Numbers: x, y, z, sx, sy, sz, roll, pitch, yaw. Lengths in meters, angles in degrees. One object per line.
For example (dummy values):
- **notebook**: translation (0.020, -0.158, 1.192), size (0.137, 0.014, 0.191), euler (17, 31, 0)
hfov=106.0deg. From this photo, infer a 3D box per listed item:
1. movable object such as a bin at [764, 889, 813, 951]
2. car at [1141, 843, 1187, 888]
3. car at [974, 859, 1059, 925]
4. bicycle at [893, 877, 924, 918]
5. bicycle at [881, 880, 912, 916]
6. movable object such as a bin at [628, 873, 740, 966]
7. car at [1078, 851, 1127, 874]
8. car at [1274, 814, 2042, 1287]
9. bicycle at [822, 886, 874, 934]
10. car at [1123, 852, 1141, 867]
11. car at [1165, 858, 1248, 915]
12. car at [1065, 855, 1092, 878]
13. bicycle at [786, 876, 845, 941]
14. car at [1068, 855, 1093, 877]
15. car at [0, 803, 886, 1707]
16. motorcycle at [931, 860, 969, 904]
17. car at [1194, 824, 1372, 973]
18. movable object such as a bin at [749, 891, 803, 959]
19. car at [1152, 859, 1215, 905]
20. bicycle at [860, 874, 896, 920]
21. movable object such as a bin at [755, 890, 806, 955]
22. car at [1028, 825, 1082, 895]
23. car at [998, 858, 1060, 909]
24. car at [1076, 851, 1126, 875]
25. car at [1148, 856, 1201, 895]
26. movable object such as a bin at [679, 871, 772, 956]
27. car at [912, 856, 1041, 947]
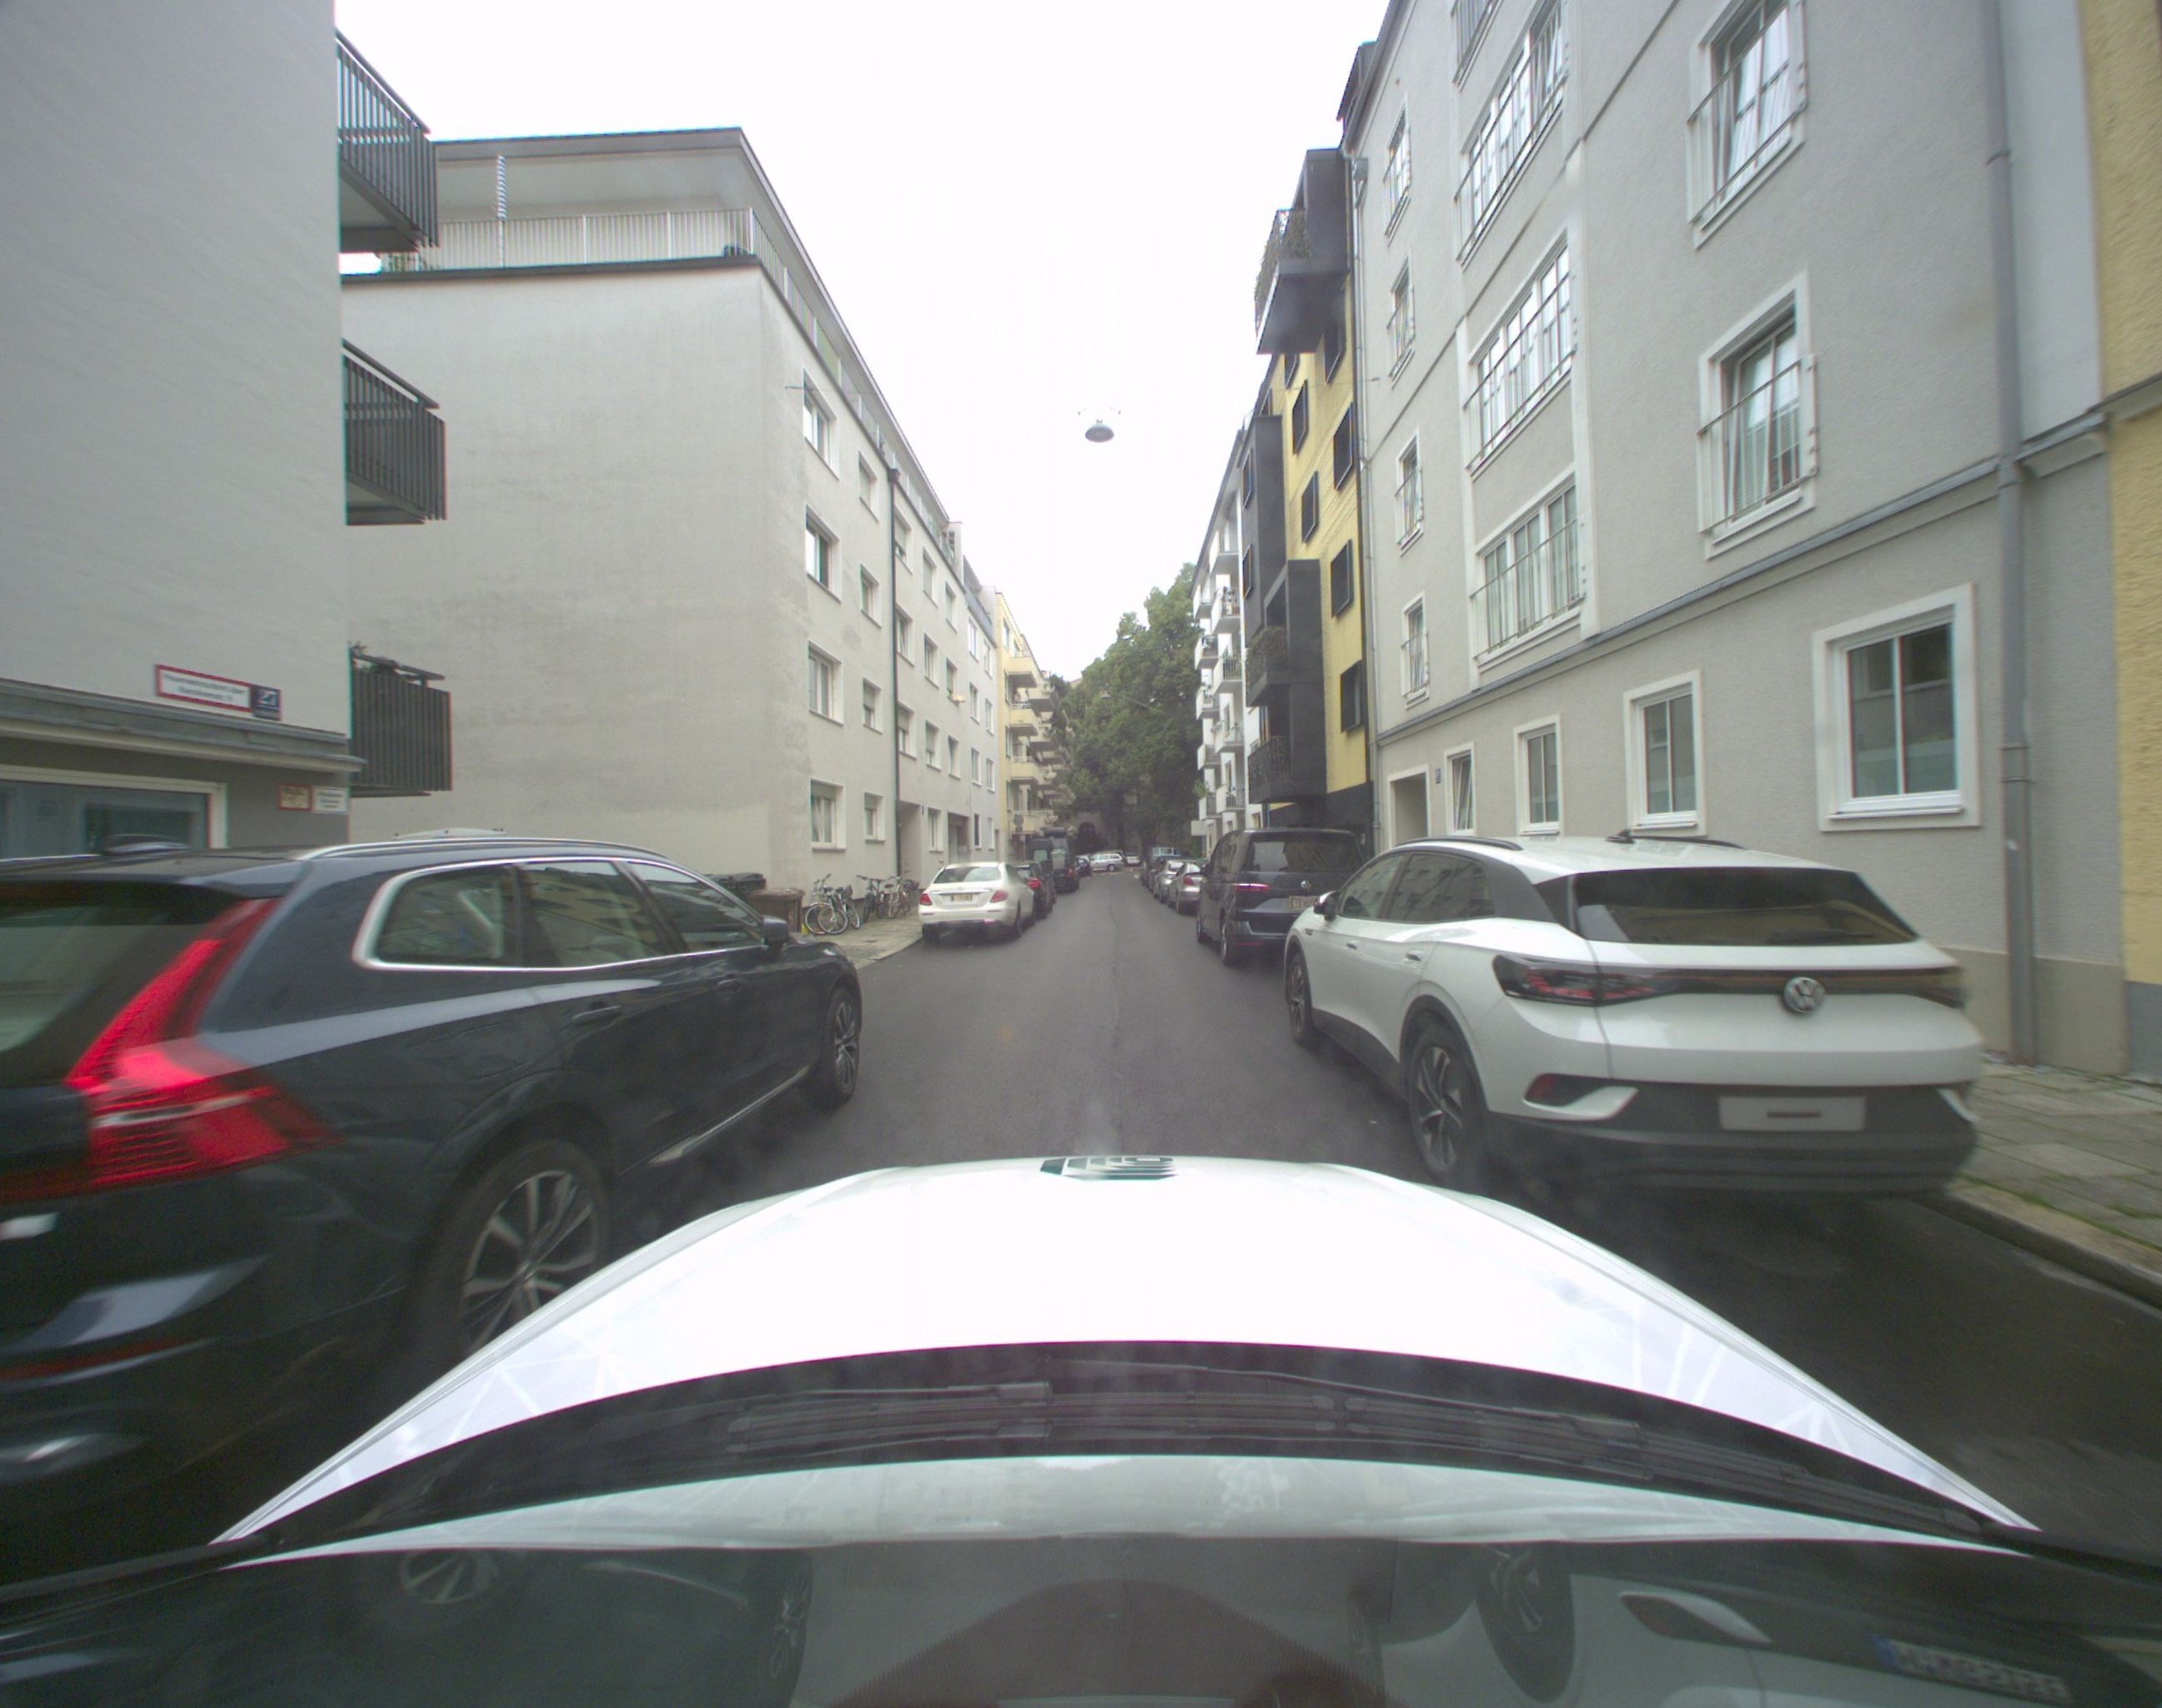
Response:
- **movable object such as a bin**: translation (-5.059, 1.135, 14.104), size (0.649, 1.020, 0.584), euler (0, 0, -4)
- **car**: translation (3.937, 0.514, 39.174), size (1.822, 1.999, 4.417), euler (2, 0, 2)
- **car**: translation (-1.626, 0.945, 21.884), size (1.770, 1.453, 4.047), euler (-4, 0, 2)
- **bicycle**: translation (-4.423, 1.096, 20.927), size (0.394, 0.982, 1.656), euler (0, 0, 2)
- **bicycle**: translation (-4.886, 1.146, 21.618), size (0.394, 0.869, 1.614), euler (0, 0, 2)
- **movable object such as a bin**: translation (-6.316, 1.021, 13.015), size (1.161, 1.337, 1.026), euler (-4, -1, 4)
- **car**: translation (1.790, 0.662, 66.973), size (3.873, 1.584, 1.648), euler (-4, 0, 0)
- **car**: translation (2.481, 0.661, 4.976), size (1.675, 1.567, 4.417), euler (1, 0, 2)
- **bicycle**: translation (-4.825, 1.134, 16.994), size (0.394, 0.869, 2.133), euler (0, 0, 2)
- **car**: translation (5.102, 0.507, 81.983), size (1.636, 1.383, 3.747), euler (-4, 0, 2)
- **car**: translation (3.515, 0.860, 23.591), size (1.822, 1.454, 4.417), euler (2, 0, 2)
- **car**: translation (-0.135, 0.850, 55.123), size (1.636, 1.383, 3.484), euler (-4, 0, 2)
- **bicycle**: translation (-5.182, 1.025, 16.024), size (0.394, 1.068, 2.134), euler (0, 2, 1)
- **car**: translation (0.006, 0.851, 58.967), size (1.636, 1.383, 3.484), euler (-4, 0, 2)
- **car**: translation (-2.382, 0.765, 3.645), size (1.770, 1.629, 4.416), euler (-3, 0, 2)
- **motorcycle**: translation (-4.257, 0.880, 26.624), size (0.677, 1.350, 2.488), euler (-1, 0, 3)
- **car**: translation (2.908, 0.566, 12.702), size (1.822, 1.910, 4.418), euler (0, 0, 2)
- **movable object such as a bin**: translation (-4.818, 1.116, 12.872), size (0.649, 1.020, 0.584), euler (0, 0, -4)
- **car**: translation (3.611, 0.952, 29.428), size (1.822, 1.454, 4.417), euler (2, 0, 2)
- **bicycle**: translation (-4.940, 1.027, 19.896), size (0.394, 1.051, 1.760), euler (0, 0, 2)
- **movable object such as a bin**: translation (-4.965, 1.125, 13.477), size (0.649, 1.020, 0.584), euler (0, 0, -4)
- **car**: translation (-1.092, 0.240, 36.494), size (1.929, 2.801, 4.534), euler (-4, 0, 2)
- **car**: translation (-1.663, 0.928, 26.916), size (1.636, 1.453, 3.163), euler (-4, 0, 1)
- **car**: translation (1.598, 0.722, 64.999), size (3.873, 1.584, 1.648), euler (-4, 0, 0)
- **car**: translation (3.834, 0.845, 33.990), size (1.822, 1.454, 4.417), euler (2, 0, 2)
- **movable object such as a bin**: translation (-6.125, 1.009, 14.088), size (1.042, 1.337, 0.994), euler (-4, -1, 5)
- **car**: translation (-1.972, 0.845, 16.753), size (1.770, 1.487, 4.522), euler (-4, 0, 3)
